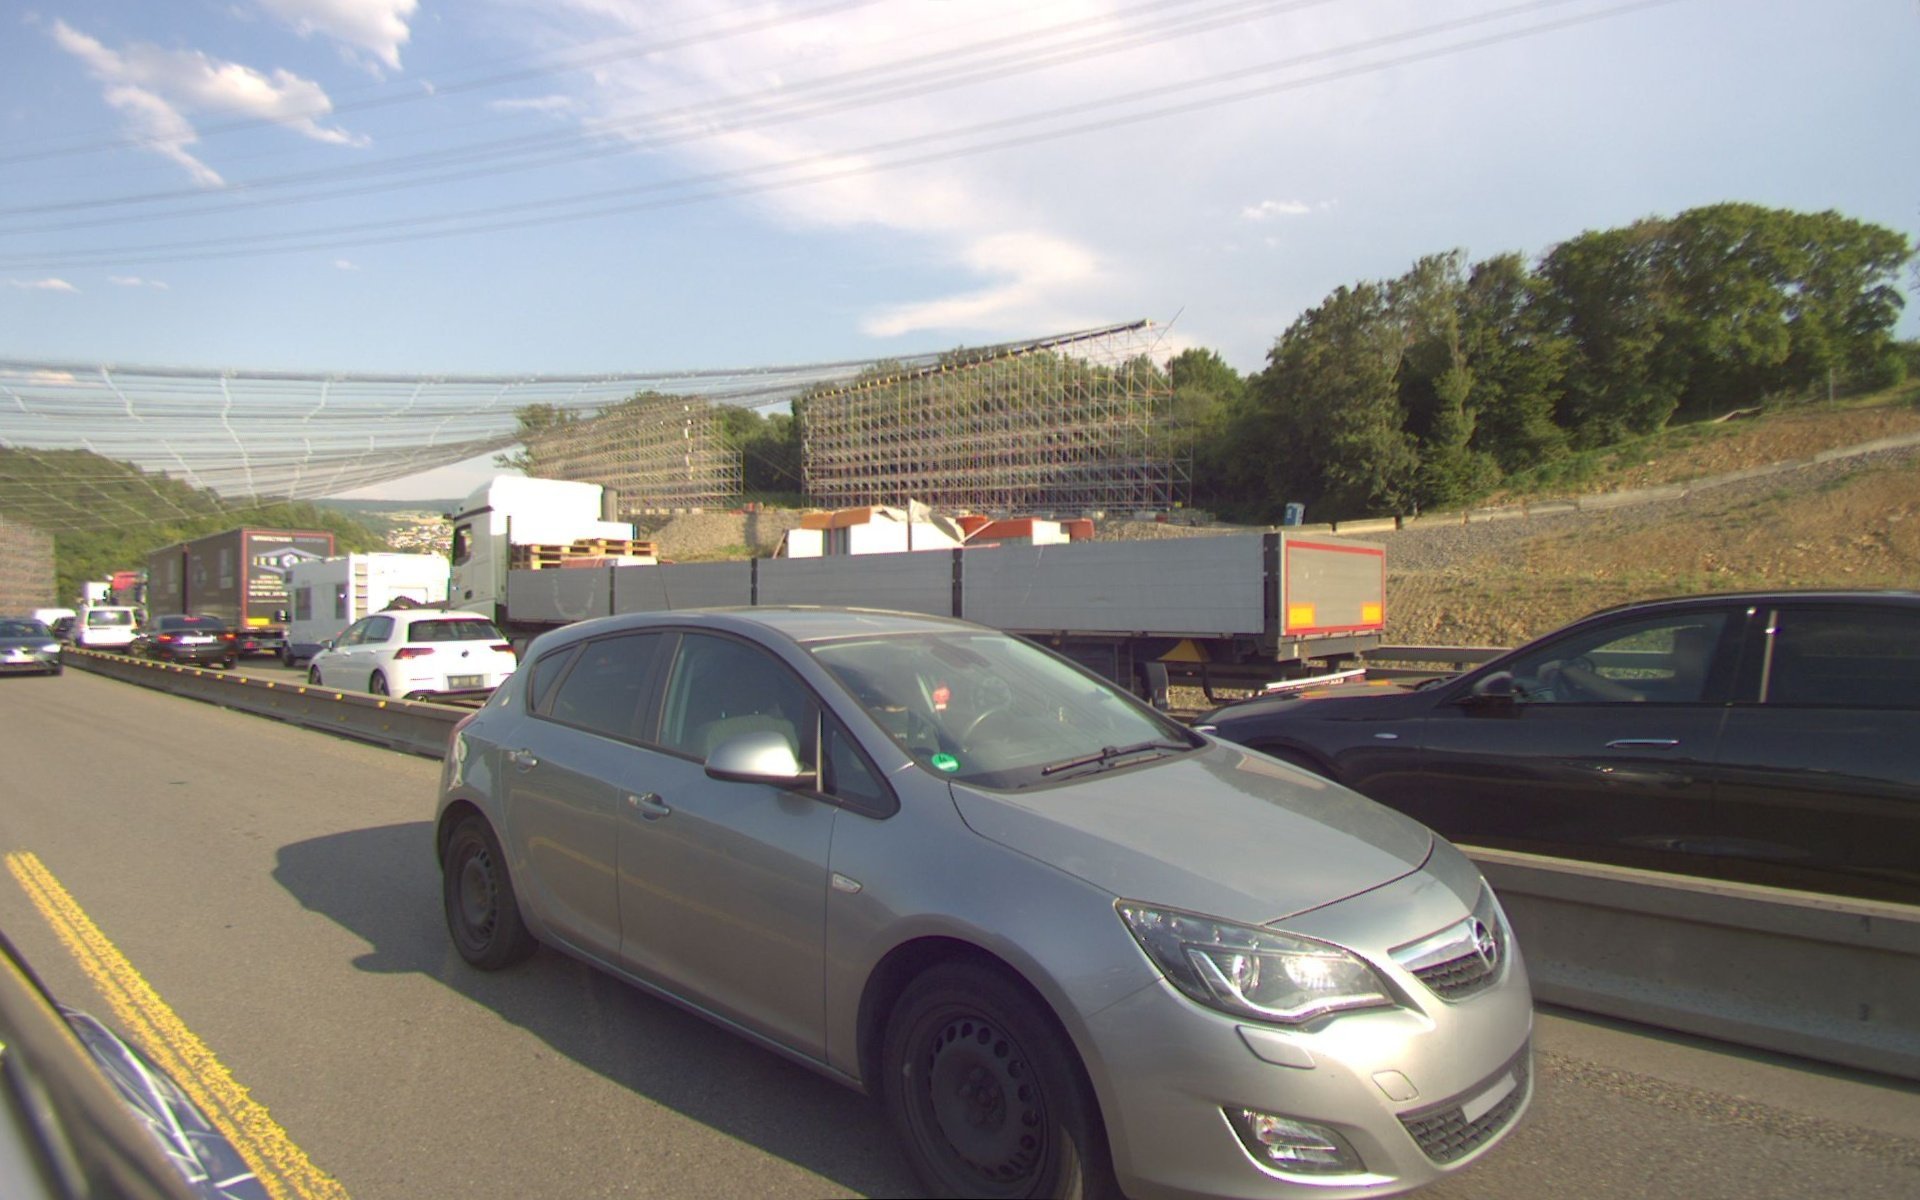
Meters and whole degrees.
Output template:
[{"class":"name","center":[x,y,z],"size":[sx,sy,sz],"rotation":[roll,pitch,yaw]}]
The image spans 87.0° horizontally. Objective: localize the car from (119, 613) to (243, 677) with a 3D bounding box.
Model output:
[{"class":"car","center":[-20.450,1.113,26.498],"size":[4.585,1.523,1.774],"rotation":[-1,-1,42]}]

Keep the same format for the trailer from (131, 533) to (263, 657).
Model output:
[{"class":"trailer","center":[-30.332,-0.129,39.994],"size":[10.512,4.361,2.448],"rotation":[-1,-1,43]}]

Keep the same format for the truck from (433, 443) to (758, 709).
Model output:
[{"class":"truck","center":[-6.528,-0.311,17.551],"size":[6.516,3.782,2.573],"rotation":[-1,-1,42]}]

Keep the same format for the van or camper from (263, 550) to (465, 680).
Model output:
[{"class":"van or camper","center":[-15.556,0.378,26.118],"size":[7.617,2.913,2.382],"rotation":[-1,-1,42]}]

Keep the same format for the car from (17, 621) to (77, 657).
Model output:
[{"class":"car","center":[-39.931,1.663,44.241],"size":[4.604,1.490,1.661],"rotation":[-1,-1,44]}]

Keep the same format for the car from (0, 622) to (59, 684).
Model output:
[{"class":"car","center":[-23.374,1.264,24.739],"size":[3.824,1.394,1.740],"rotation":[-1,-1,44]}]

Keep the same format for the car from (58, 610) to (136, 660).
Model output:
[{"class":"car","center":[-32.025,1.255,37.512],"size":[4.454,1.708,1.737],"rotation":[-1,-1,43]}]

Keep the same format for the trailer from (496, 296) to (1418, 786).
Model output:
[{"class":"trailer","center":[-1.719,-0.379,13.297],"size":[13.971,3.753,2.493],"rotation":[-1,-1,41]}]

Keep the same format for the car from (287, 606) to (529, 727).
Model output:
[{"class":"car","center":[-8.189,0.866,14.849],"size":[4.252,1.519,1.741],"rotation":[-1,-1,41]}]

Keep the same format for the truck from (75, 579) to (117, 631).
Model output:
[{"class":"truck","center":[-70.578,0.444,82.669],"size":[2.444,4.076,5.624],"rotation":[0,-1,-42]}]

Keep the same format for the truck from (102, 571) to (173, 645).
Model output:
[{"class":"truck","center":[-44.427,0.445,54.627],"size":[5.620,3.813,2.404],"rotation":[-1,-1,45]}]

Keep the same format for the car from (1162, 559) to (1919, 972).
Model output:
[{"class":"car","center":[3.415,0.562,4.389],"size":[4.765,1.388,1.740],"rotation":[-1,-1,41]}]

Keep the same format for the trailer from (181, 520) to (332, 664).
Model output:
[{"class":"trailer","center":[-23.418,-0.178,33.477],"size":[8.545,4.220,2.416],"rotation":[-1,-1,43]}]

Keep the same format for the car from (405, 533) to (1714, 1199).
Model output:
[{"class":"car","center":[-0.188,0.673,3.507],"size":[4.352,1.484,1.737],"rotation":[-1,-1,42]}]

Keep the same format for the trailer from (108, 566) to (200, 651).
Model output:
[{"class":"trailer","center":[-40.377,0.465,50.482],"size":[2.280,3.819,12.059],"rotation":[0,-1,-45]}]

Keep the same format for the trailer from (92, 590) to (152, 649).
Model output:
[{"class":"trailer","center":[-52.564,1.188,63.376],"size":[2.279,3.387,12.065],"rotation":[0,-1,-43]}]

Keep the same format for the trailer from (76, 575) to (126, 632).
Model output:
[{"class":"trailer","center":[-65.755,0.320,77.340],"size":[2.398,3.993,14.114],"rotation":[0,-1,-43]}]

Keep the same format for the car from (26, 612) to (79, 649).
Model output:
[{"class":"car","center":[-49.713,1.642,55.399],"size":[4.837,1.940,1.797],"rotation":[-1,-1,44]}]

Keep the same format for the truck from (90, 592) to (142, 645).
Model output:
[{"class":"truck","center":[-56.531,1.237,67.756],"size":[2.385,3.395,5.623],"rotation":[0,-1,-43]}]
